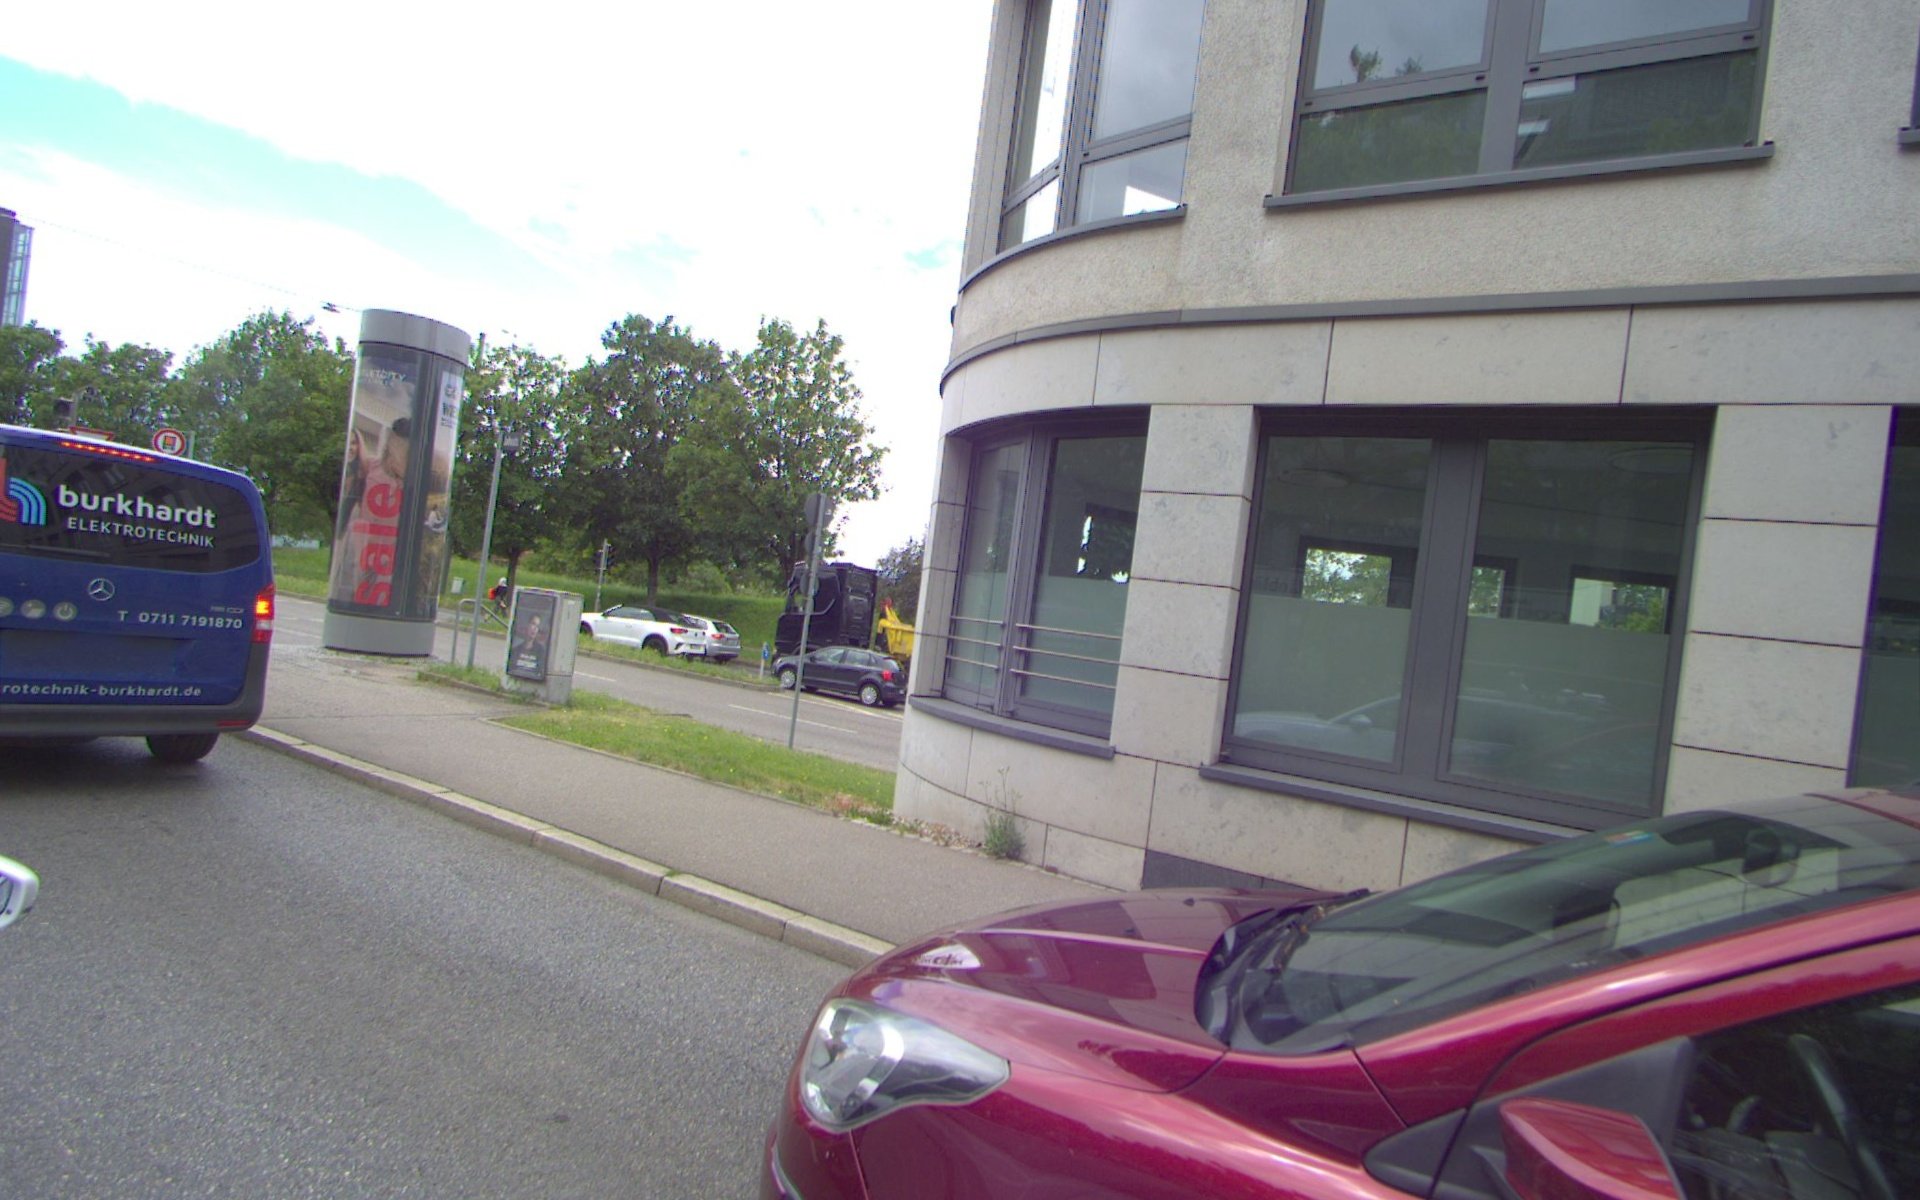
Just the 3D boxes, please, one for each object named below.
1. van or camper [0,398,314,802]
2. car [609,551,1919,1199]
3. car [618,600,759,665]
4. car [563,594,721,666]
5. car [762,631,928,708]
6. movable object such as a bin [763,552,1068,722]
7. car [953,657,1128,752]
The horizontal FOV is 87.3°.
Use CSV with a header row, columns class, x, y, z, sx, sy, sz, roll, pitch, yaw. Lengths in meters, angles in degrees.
class,x,y,z,sx,sy,sz,roll,pitch,yaw
van or camper,-6.491,-0.197,6.458,4.949,1.934,1.862,7,-1,32
car,1.600,0.988,1.456,3.933,1.509,1.890,7,-3,32
car,-9.040,1.095,33.556,3.925,1.469,2.003,8,-3,19
car,-9.432,0.908,29.928,3.925,1.469,2.003,8,-3,19
car,-3.133,1.921,27.687,3.925,1.469,2.003,8,-3,19
movable object such as a bin,-1.332,1.060,30.518,8.410,3.949,2.870,7,-1,18
car,2.083,2.636,25.666,3.925,1.723,2.003,8,-3,19
